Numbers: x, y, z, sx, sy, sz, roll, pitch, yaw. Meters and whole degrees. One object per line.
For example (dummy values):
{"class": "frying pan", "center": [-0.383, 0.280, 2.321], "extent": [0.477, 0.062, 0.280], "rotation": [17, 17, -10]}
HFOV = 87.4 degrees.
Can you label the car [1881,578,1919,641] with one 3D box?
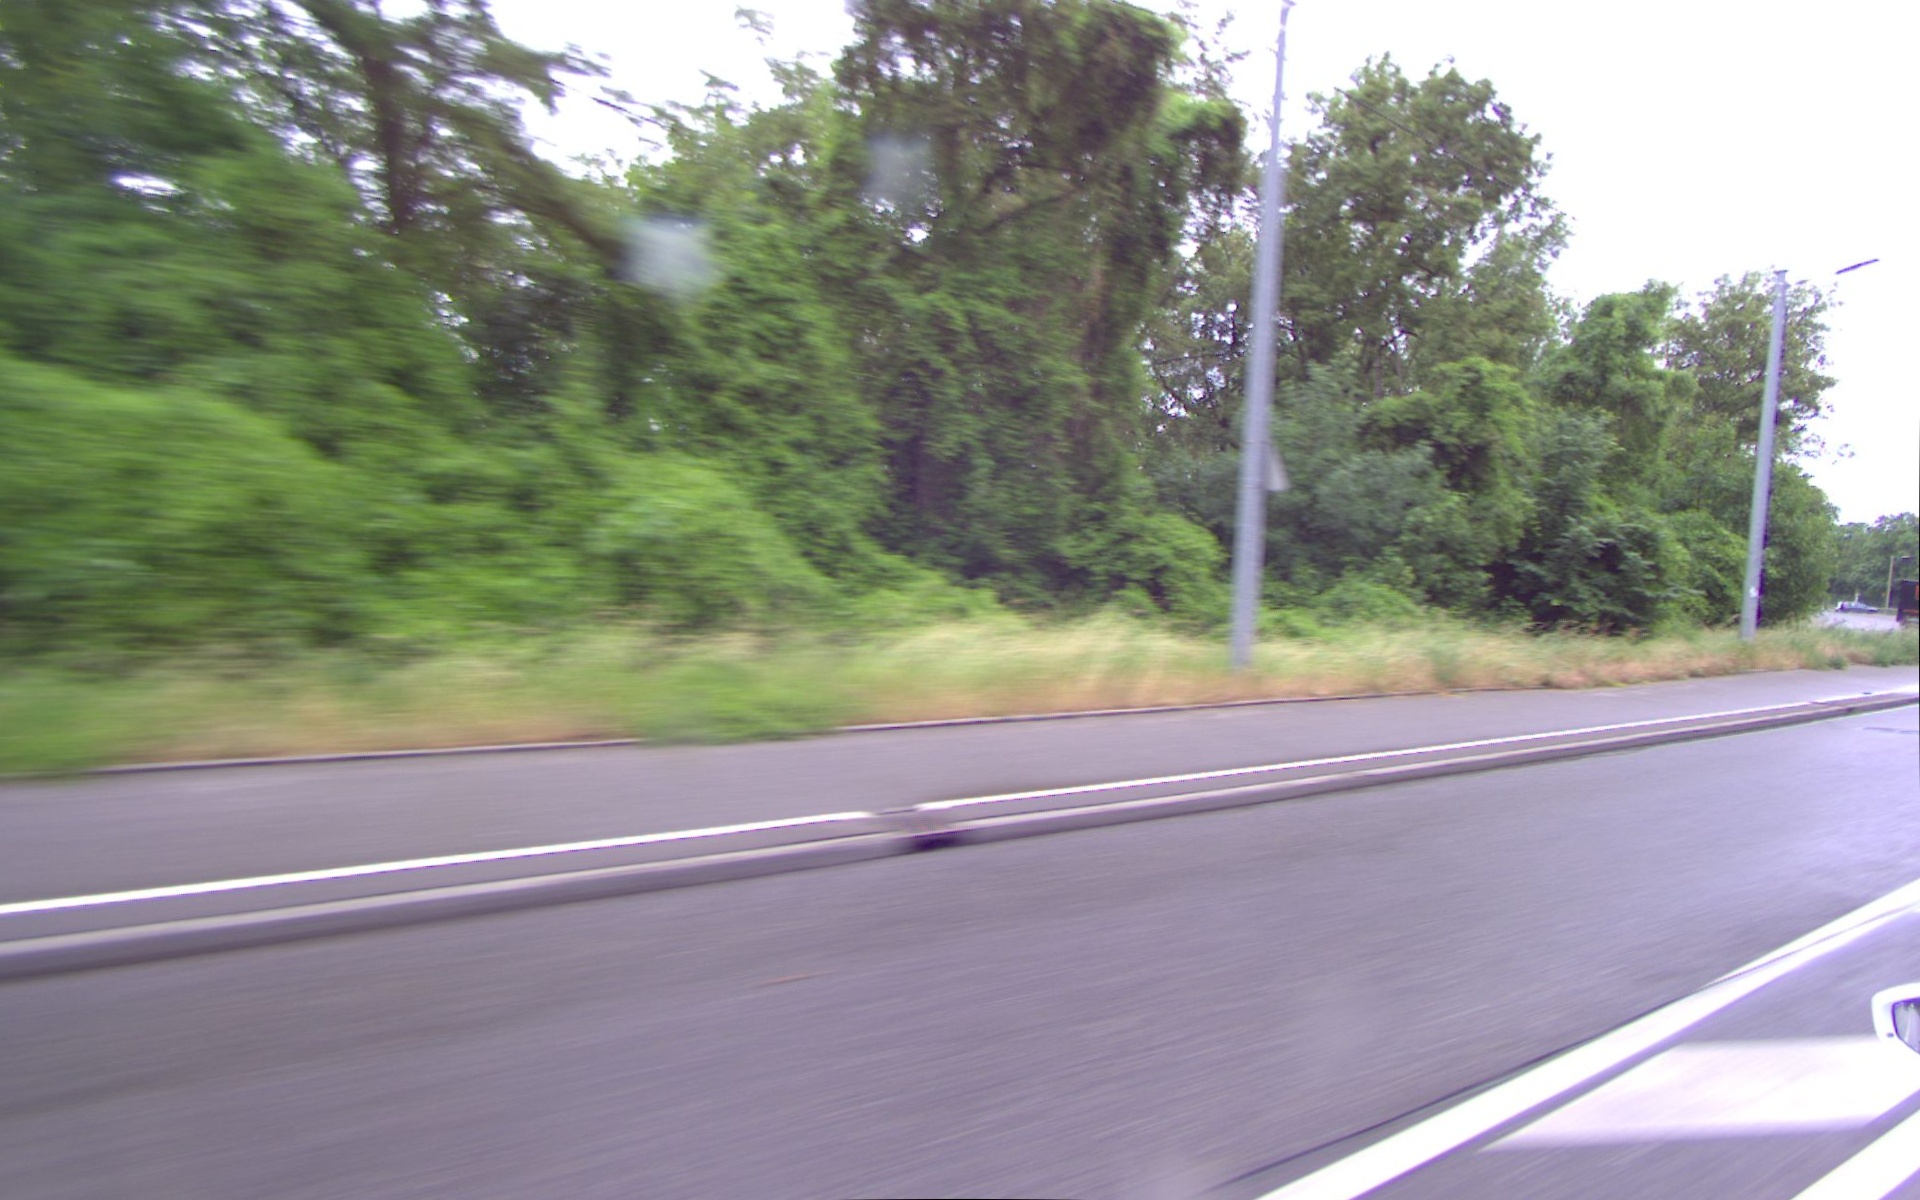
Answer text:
{"class": "car", "center": [56.123, 0.604, 56.772], "extent": [5.884, 3.549, 1.988], "rotation": [2, 1, 44]}
